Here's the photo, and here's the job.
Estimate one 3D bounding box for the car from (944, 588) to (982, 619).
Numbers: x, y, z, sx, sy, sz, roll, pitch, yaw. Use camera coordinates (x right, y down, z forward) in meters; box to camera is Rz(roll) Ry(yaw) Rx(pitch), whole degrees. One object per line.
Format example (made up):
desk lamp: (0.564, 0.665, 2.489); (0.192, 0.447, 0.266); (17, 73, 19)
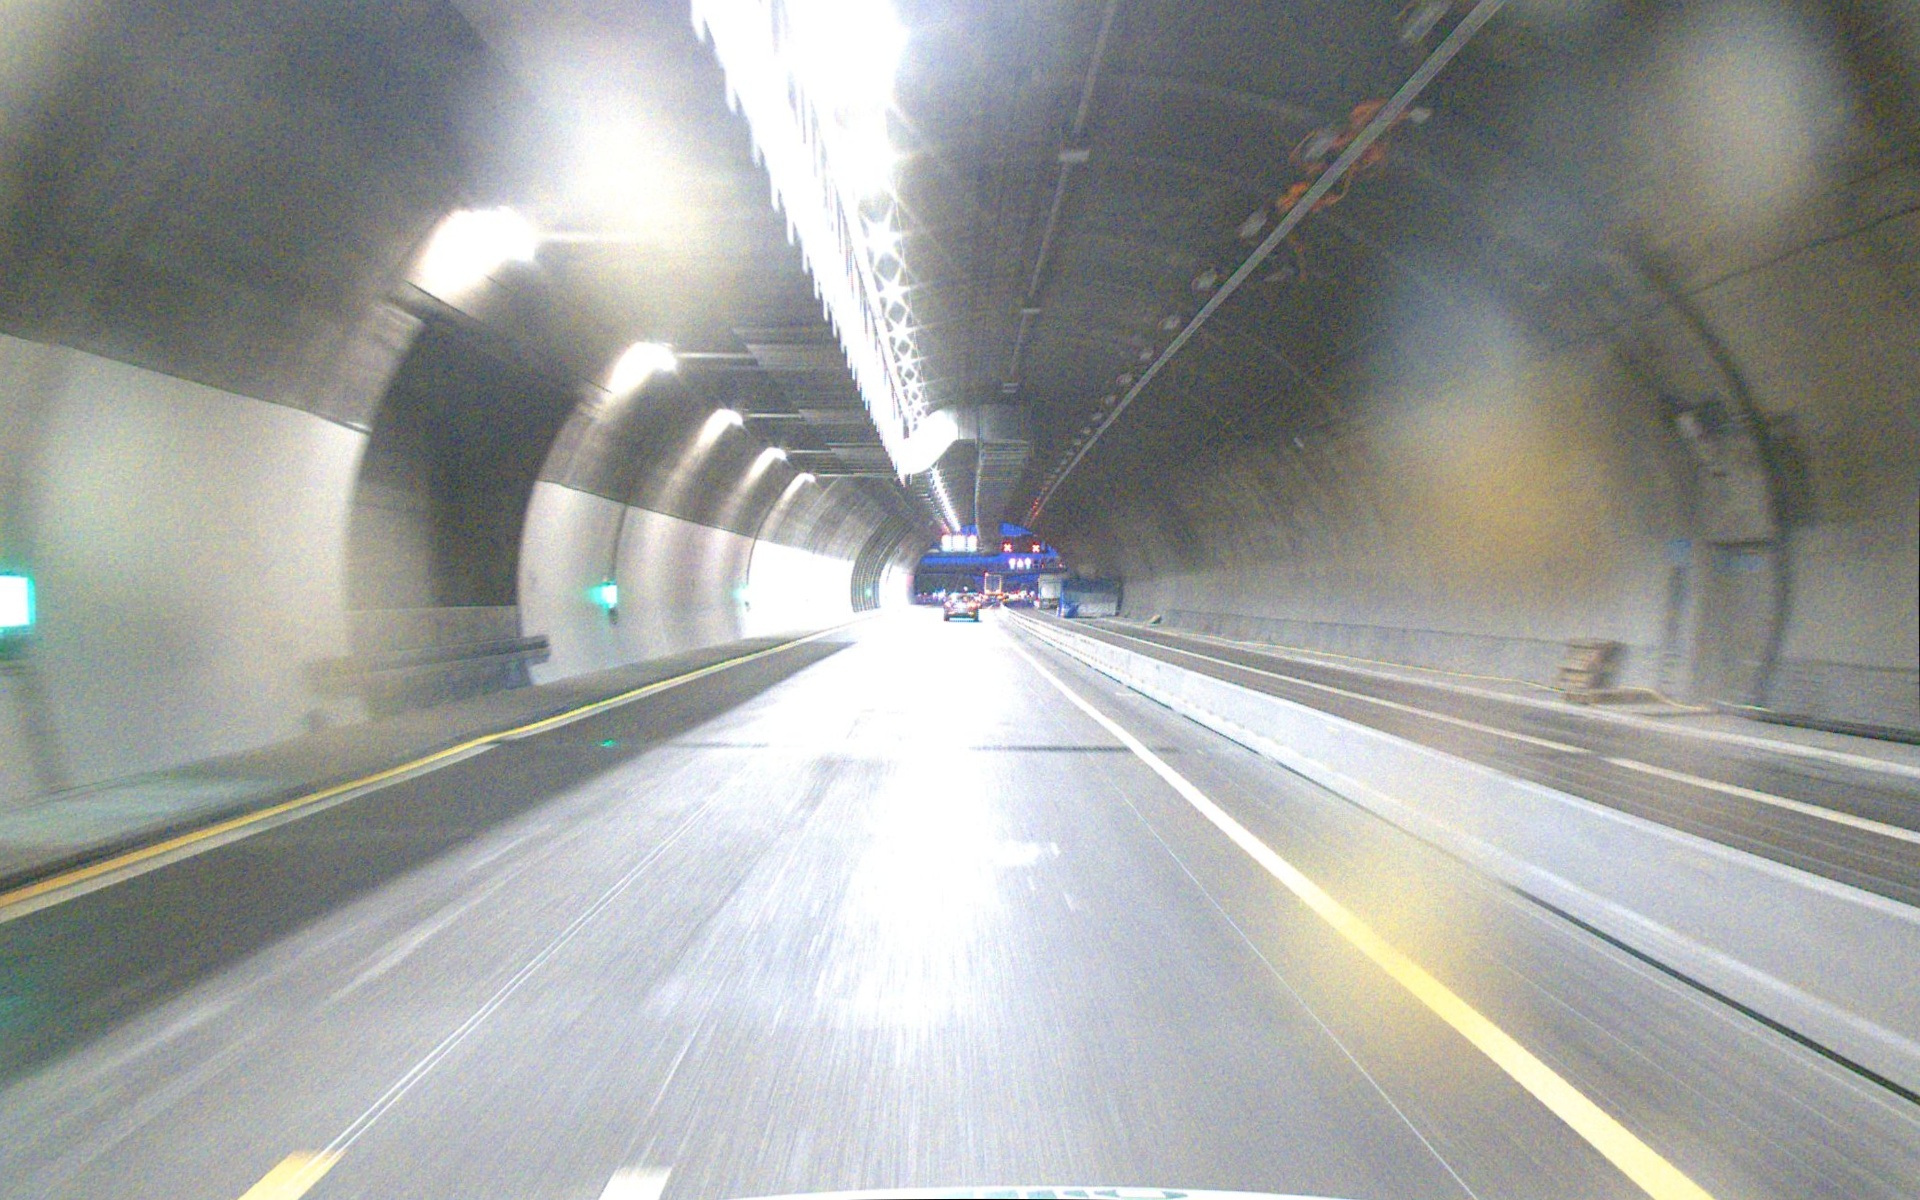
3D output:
car: (0.120, 0.175, 87.448); (1.850, 1.635, 3.998); (0, 0, -2)

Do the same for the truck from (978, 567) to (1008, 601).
truck: (5.011, -2.362, 251.888); (4.452, 5.074, 9.599); (0, 0, 1)

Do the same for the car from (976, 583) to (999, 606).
car: (2.525, -0.493, 151.796); (1.953, 2.049, 3.999); (0, 0, -1)

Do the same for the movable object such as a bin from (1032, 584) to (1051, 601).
movable object such as a bin: (9.271, -0.830, 188.292); (1.937, 1.847, 3.837); (0, 0, 1)

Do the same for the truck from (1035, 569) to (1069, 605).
truck: (8.568, -1.193, 155.085); (2.832, 3.329, 8.402); (0, 0, 1)
